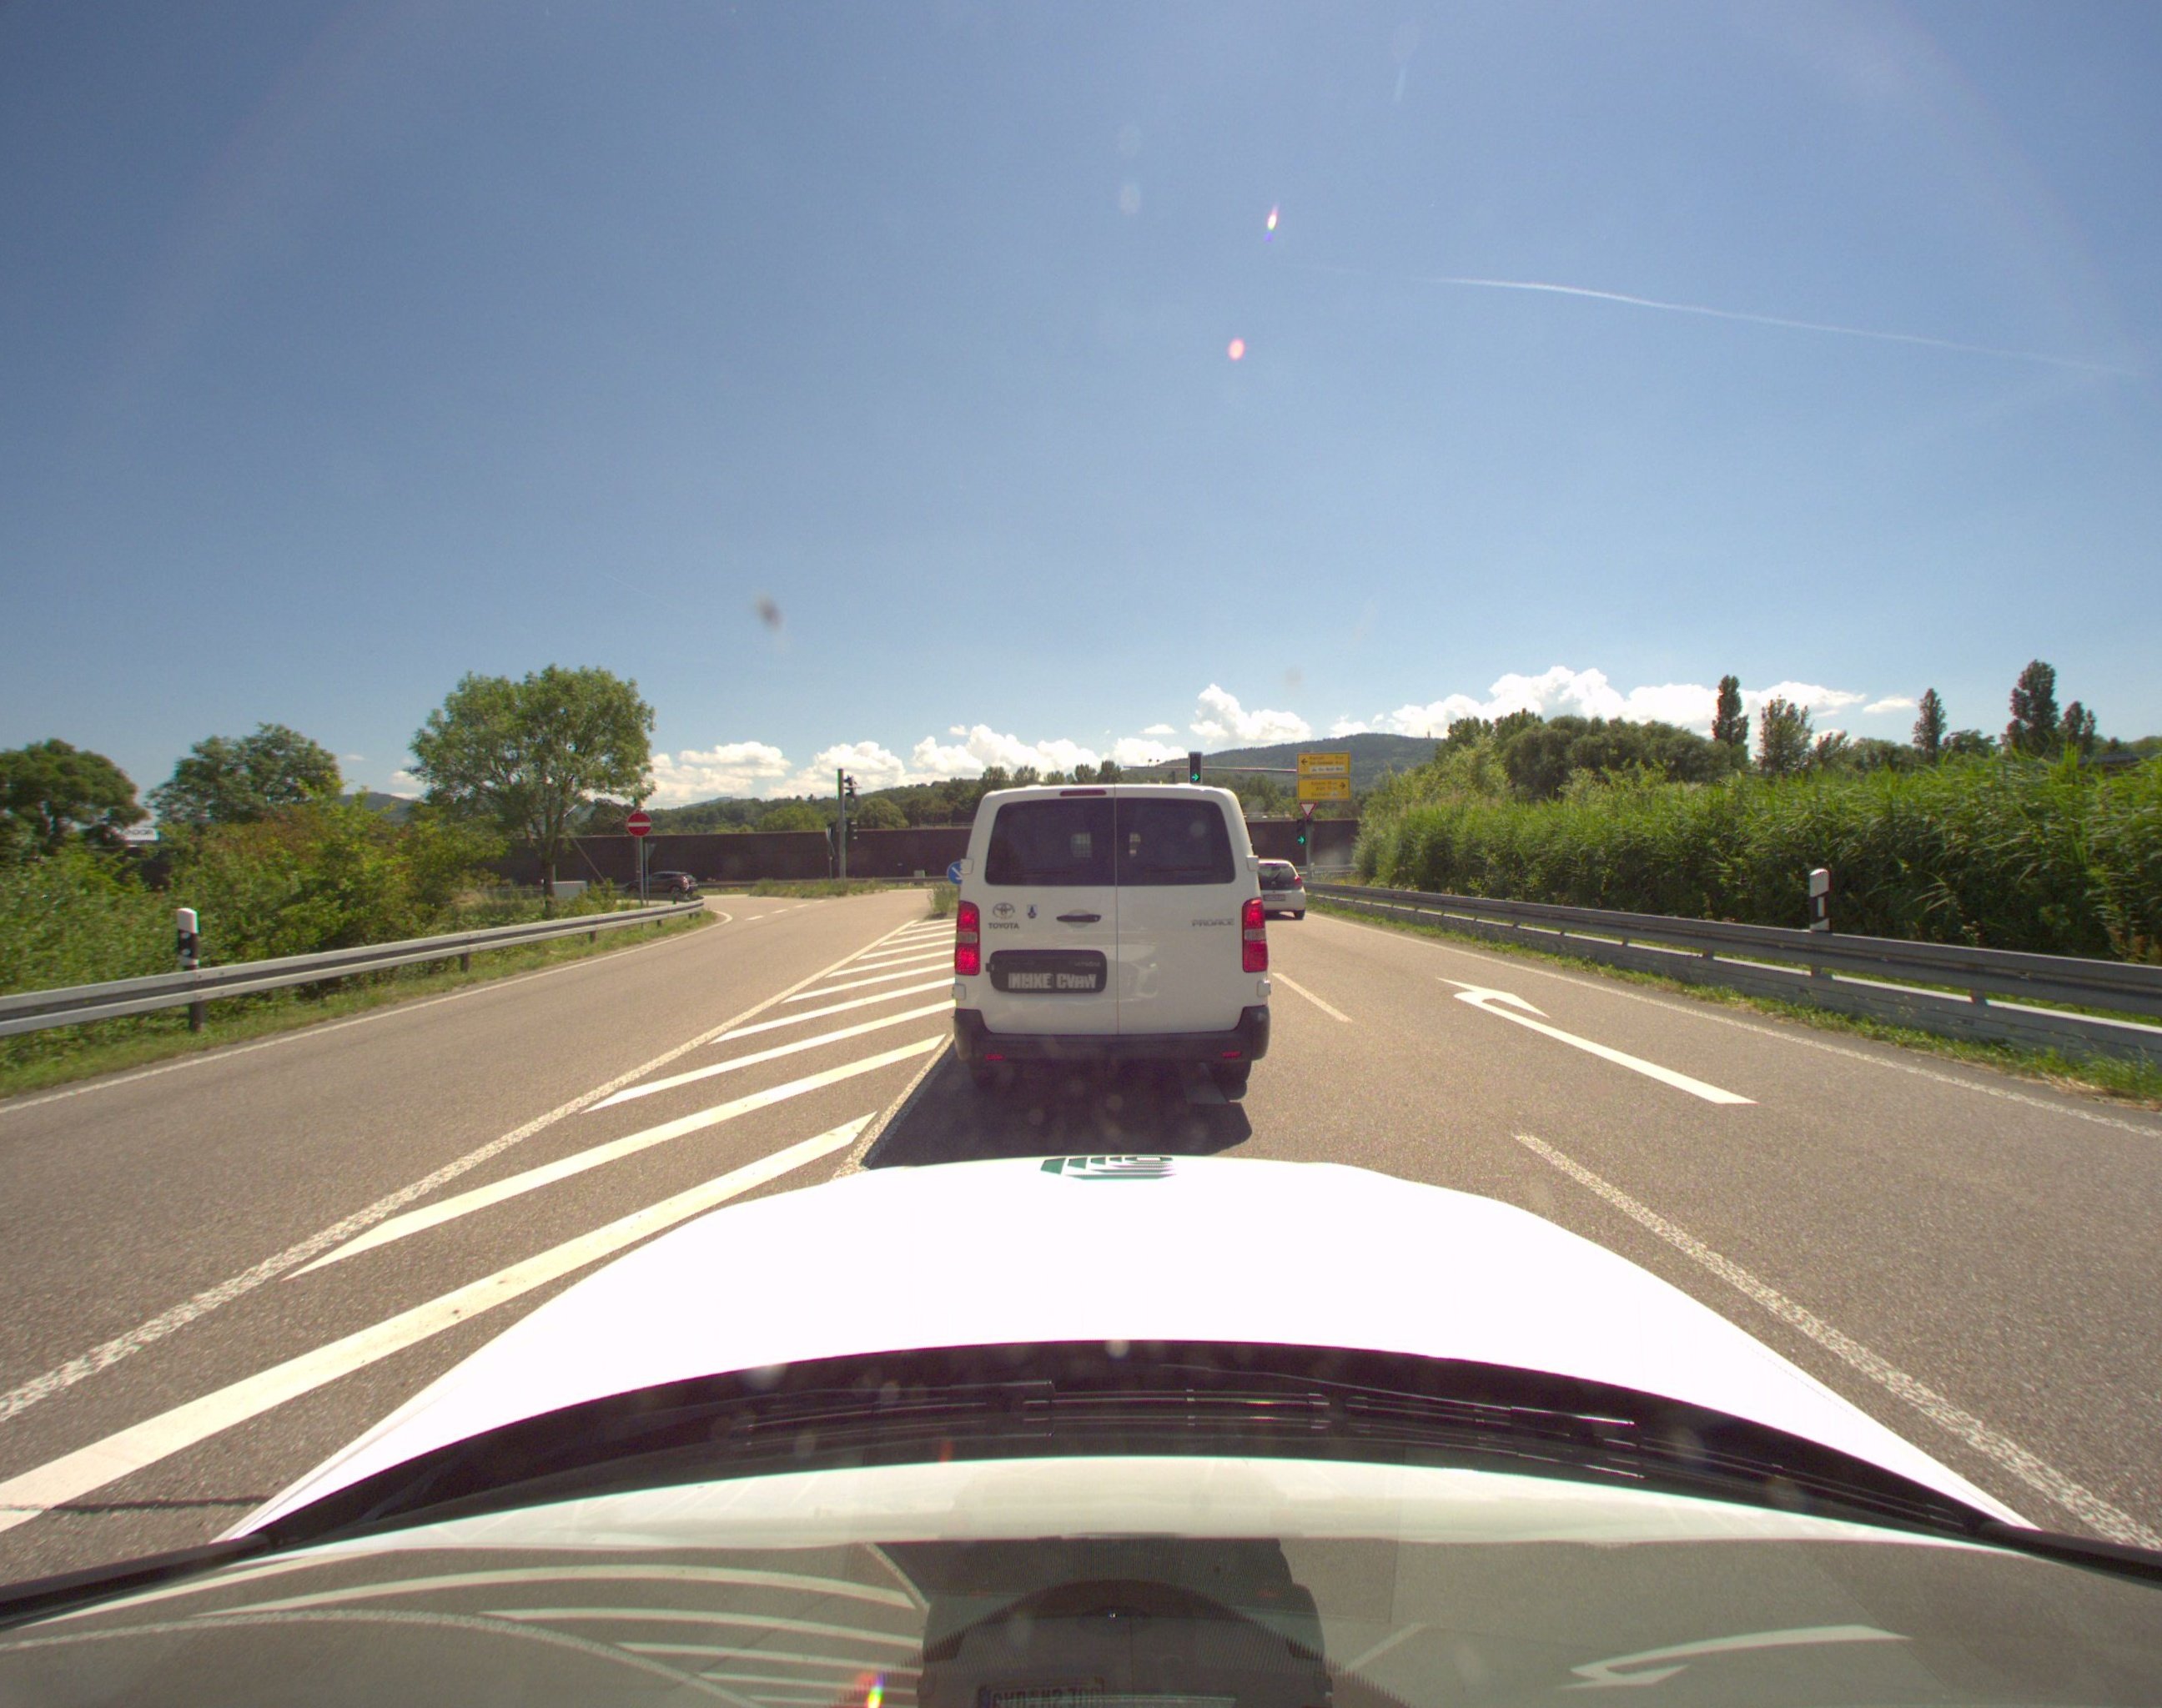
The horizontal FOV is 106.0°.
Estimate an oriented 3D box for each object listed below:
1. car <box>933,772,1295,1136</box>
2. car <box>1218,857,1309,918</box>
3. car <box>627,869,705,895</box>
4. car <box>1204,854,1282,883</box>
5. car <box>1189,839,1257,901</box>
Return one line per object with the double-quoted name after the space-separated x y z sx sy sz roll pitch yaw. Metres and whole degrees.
0.218 0.537 6.266 1.880 1.886 4.001 -1 -1 1 "car"
4.598 0.800 20.923 1.650 1.431 3.366 -1 -1 1 "car"
-26.702 1.809 52.508 3.975 1.556 1.999 -1 -1 -1 "car"
9.756 0.850 49.281 4.300 1.656 1.998 -1 -1 -4 "car"
5.007 0.547 29.235 1.920 2.000 4.842 -1 -1 4 "car"
